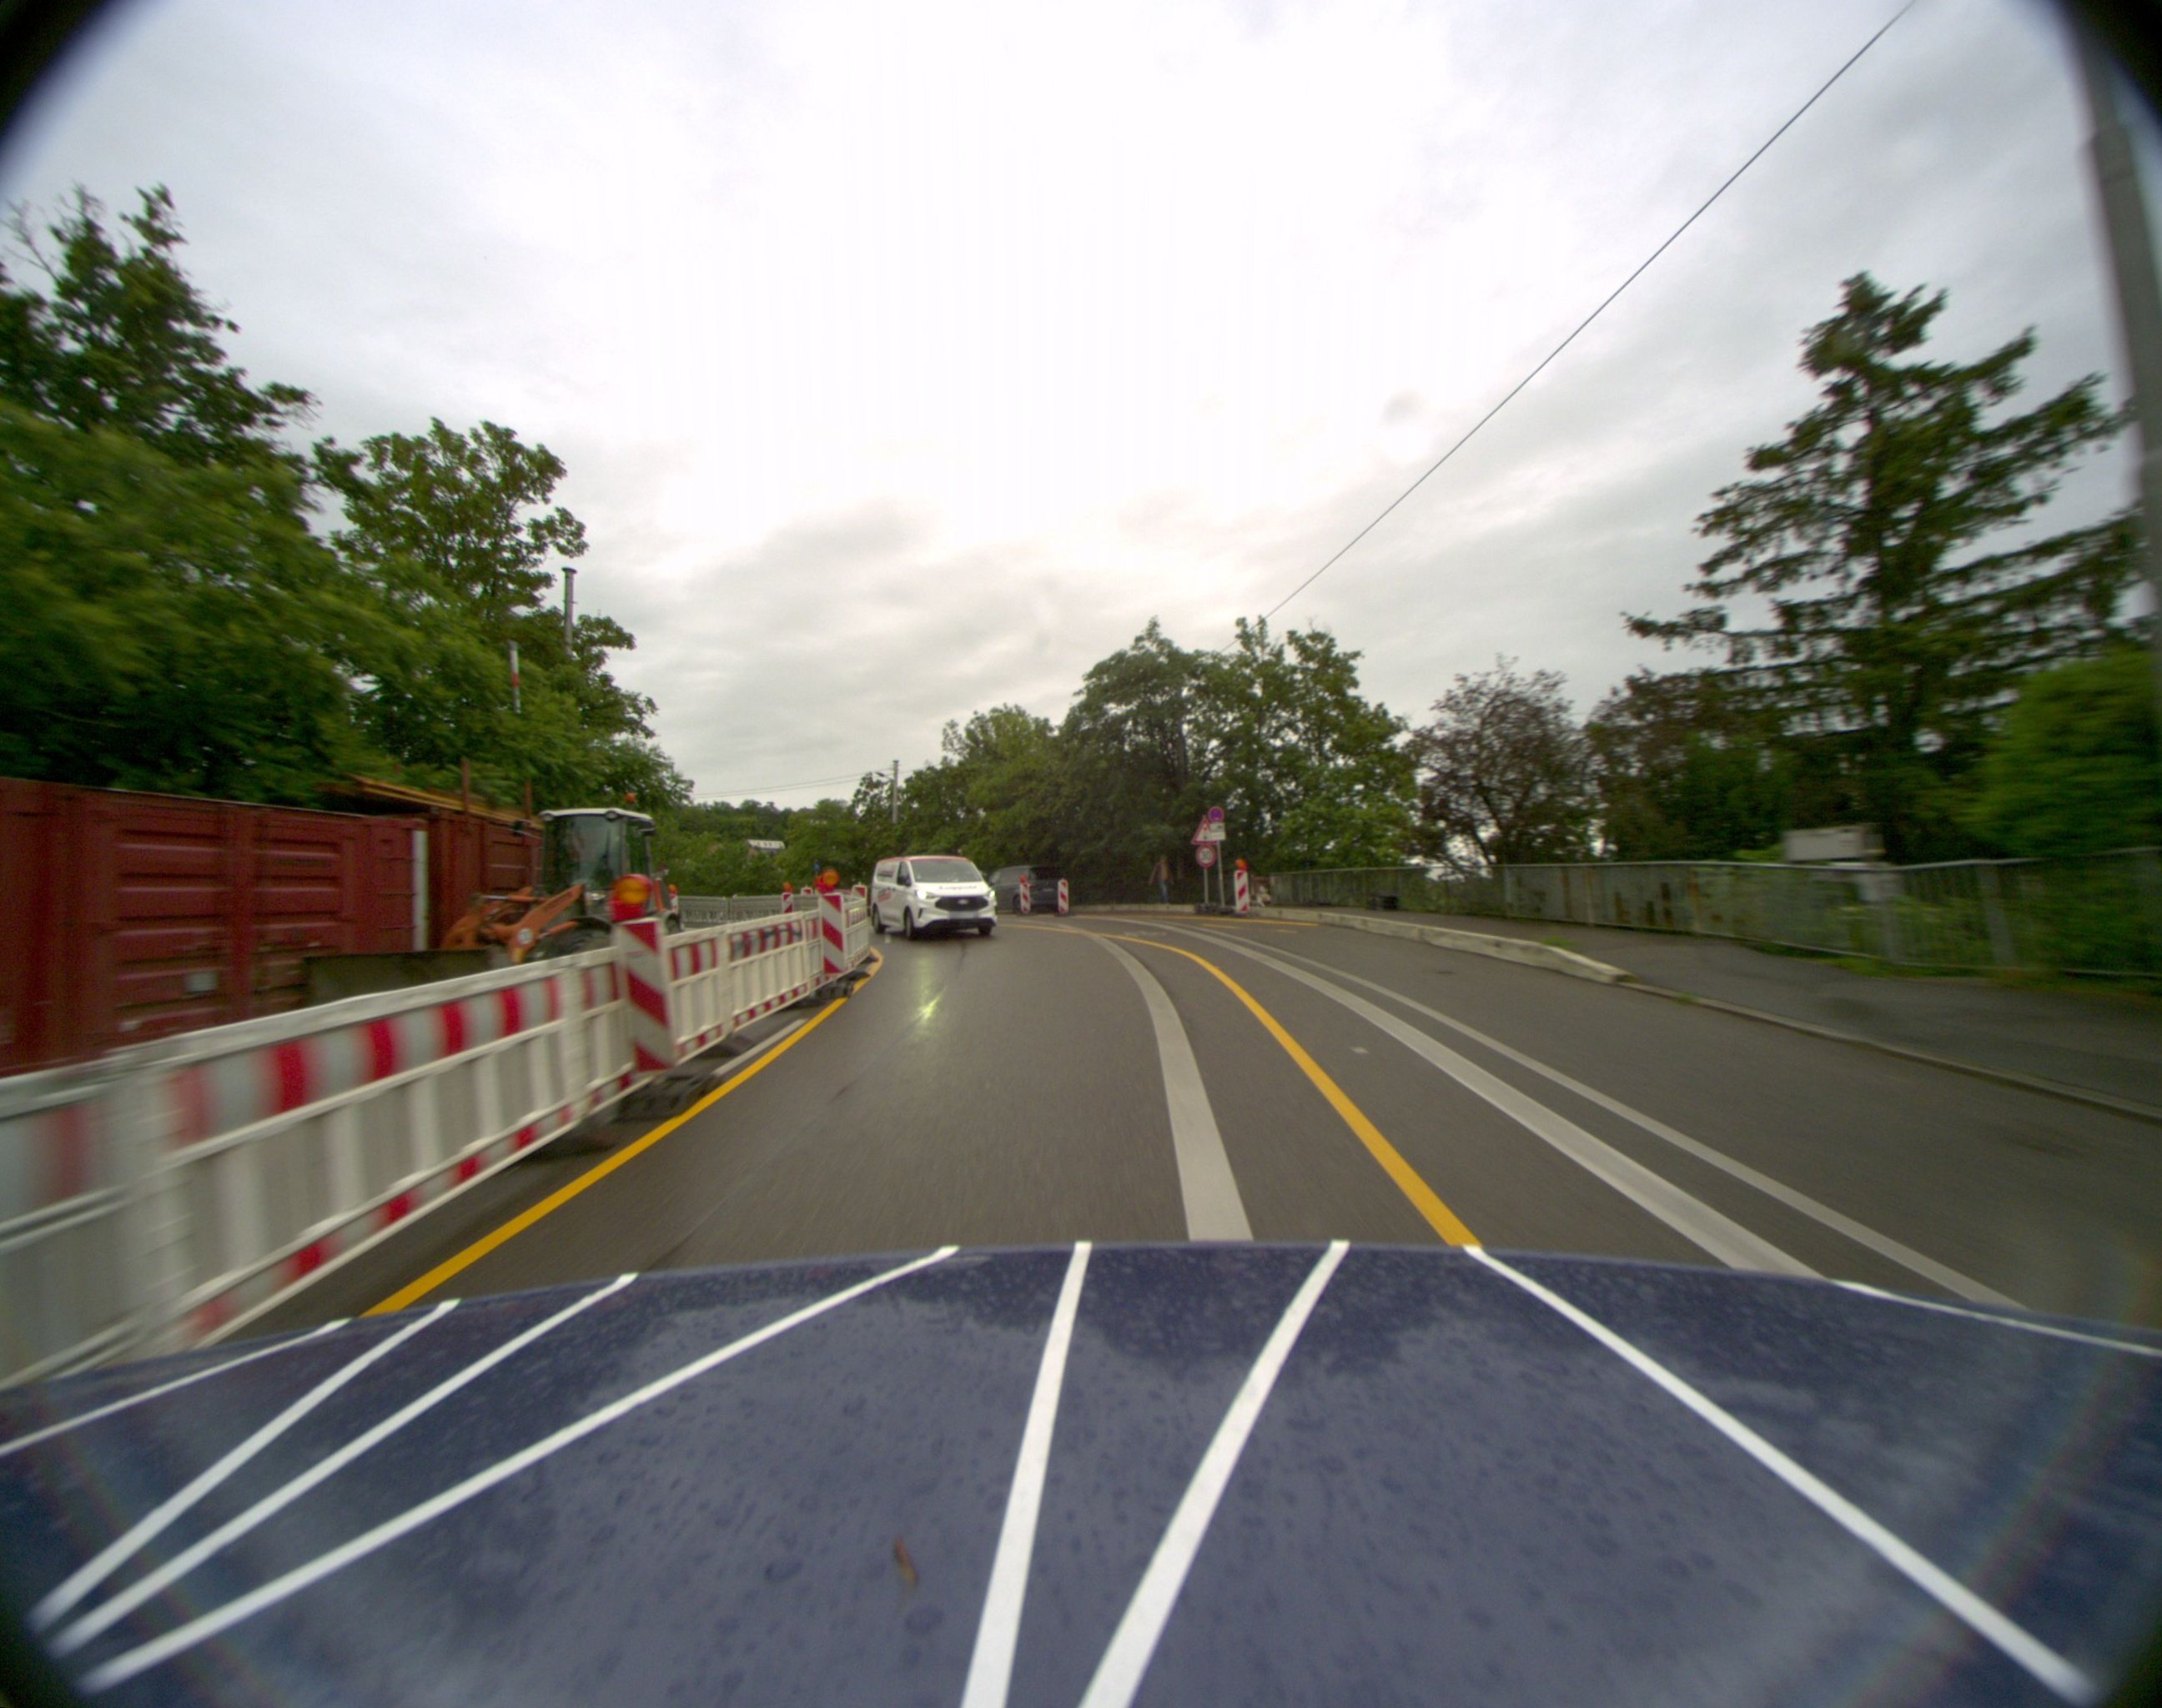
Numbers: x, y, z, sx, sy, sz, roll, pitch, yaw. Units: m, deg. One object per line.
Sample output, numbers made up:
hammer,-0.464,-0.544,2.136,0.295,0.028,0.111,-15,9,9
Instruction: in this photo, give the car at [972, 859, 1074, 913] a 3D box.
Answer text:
car,-2.508,1.348,31.414,2.003,2.001,4.938,-1,-2,-33

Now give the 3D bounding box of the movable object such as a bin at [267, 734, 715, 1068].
movable object such as a bin,-7.058,0.708,10.157,2.081,3.204,5.287,-3,-6,-4

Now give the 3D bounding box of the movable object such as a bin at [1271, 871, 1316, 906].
movable object such as a bin,6.939,1.146,24.897,0.990,1.099,1.026,0,-4,-16

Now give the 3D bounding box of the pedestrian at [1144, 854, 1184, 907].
pedestrian,2.852,0.901,26.059,0.927,1.757,0.978,-1,-1,-26

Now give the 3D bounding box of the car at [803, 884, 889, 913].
car,-12.658,2.411,40.856,4.312,1.431,1.971,-4,-4,30

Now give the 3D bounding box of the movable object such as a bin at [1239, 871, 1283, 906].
movable object such as a bin,5.865,1.128,24.822,0.990,1.099,1.026,0,-2,-16

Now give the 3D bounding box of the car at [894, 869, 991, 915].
car,-6.617,1.818,35.966,4.801,2.001,1.876,-5,-3,40

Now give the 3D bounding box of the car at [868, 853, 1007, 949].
car,-3.739,1.018,18.949,2.003,2.002,4.937,-2,1,-28
